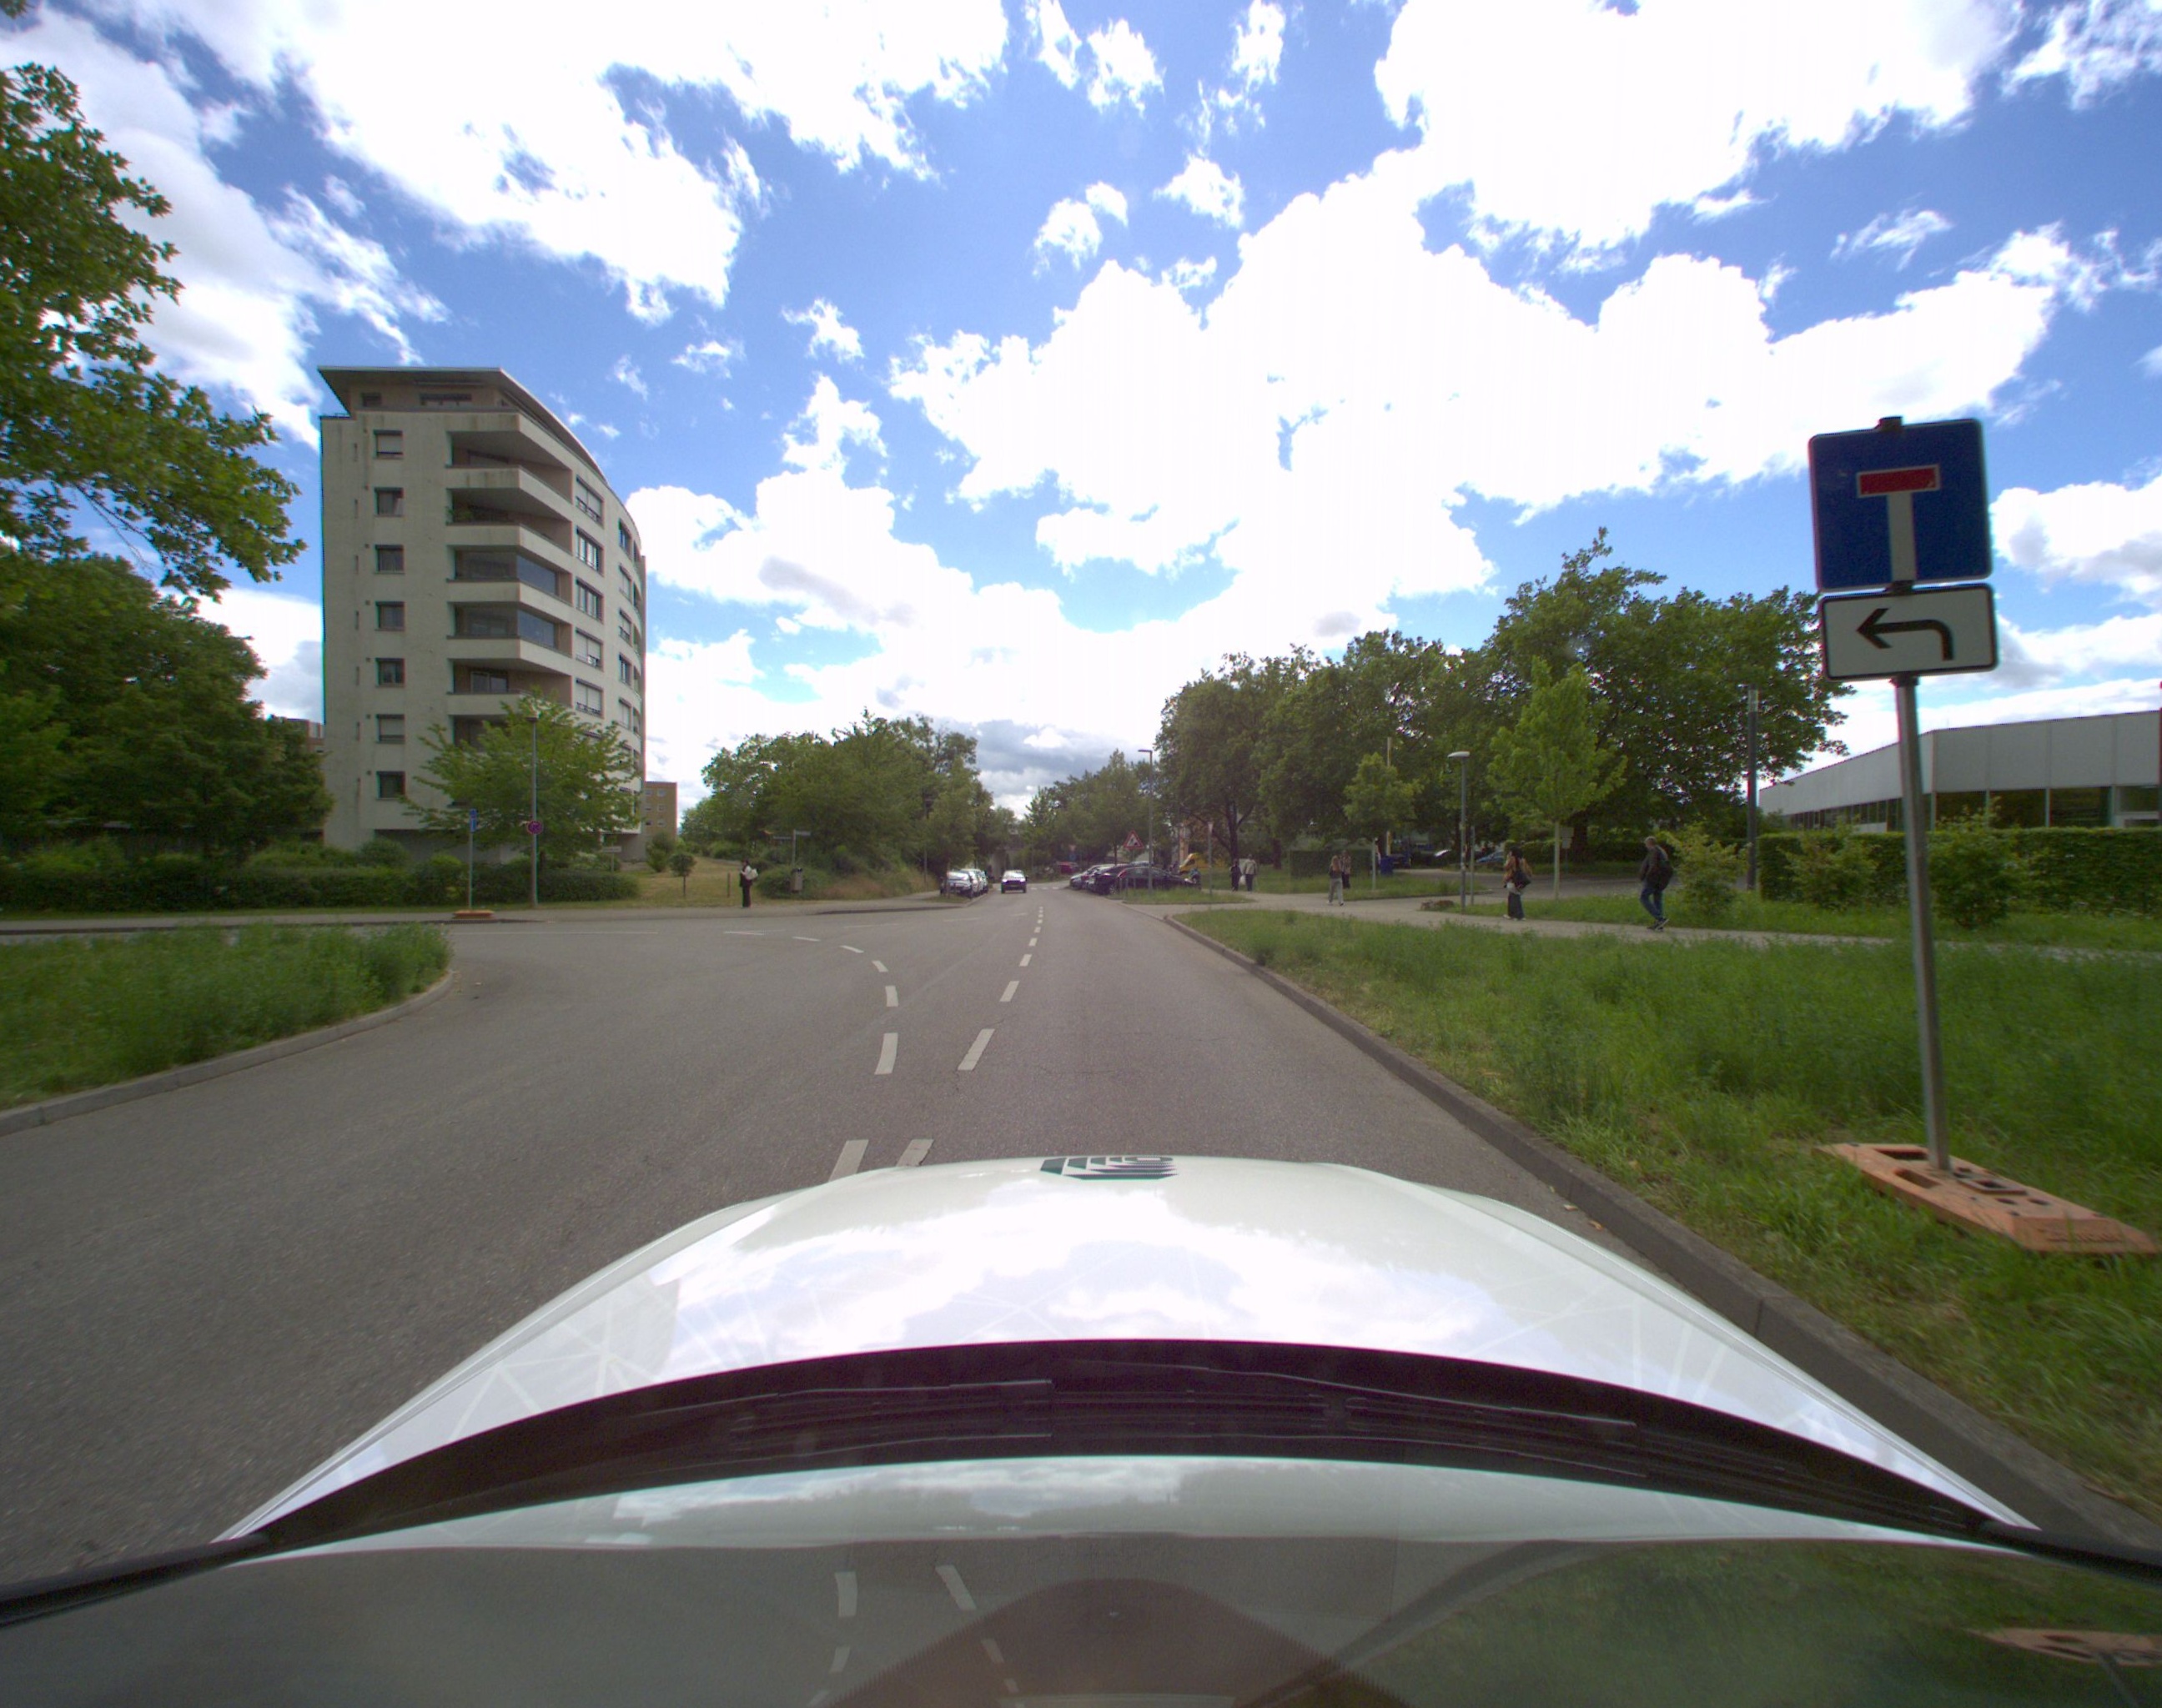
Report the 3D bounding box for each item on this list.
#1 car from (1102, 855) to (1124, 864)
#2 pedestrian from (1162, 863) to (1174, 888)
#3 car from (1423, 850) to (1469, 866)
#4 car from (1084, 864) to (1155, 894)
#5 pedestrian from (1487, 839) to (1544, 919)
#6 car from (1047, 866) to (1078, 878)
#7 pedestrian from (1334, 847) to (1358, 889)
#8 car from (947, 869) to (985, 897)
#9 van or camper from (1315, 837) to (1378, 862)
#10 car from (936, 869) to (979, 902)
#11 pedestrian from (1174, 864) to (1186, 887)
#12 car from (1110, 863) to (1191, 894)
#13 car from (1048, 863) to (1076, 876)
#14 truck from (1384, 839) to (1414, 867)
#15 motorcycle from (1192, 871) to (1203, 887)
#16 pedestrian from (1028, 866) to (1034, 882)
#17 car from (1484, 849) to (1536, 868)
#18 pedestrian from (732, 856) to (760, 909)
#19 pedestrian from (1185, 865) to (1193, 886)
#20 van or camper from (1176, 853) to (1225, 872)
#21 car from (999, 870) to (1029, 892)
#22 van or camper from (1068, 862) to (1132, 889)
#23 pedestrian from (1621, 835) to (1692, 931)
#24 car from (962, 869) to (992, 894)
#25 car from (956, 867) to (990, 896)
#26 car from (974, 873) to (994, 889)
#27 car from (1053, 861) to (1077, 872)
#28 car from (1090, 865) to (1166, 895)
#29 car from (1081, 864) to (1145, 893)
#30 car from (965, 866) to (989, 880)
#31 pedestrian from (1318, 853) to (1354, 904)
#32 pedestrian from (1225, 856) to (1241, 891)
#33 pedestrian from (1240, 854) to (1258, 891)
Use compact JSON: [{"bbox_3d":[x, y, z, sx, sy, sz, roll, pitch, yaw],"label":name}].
[{"bbox_3d":[5.455,0.945,138.696,3.550,1.654,1.611,0,0,-19],"label":"car"},{"bbox_3d":[5.495,1.354,51.522,0.687,1.504,0.753,0,-1,1],"label":"pedestrian"},{"bbox_3d":[36.677,0.433,81.923,3.908,1.500,1.772,-1,1,1],"label":"car"},{"bbox_3d":[2.143,1.431,45.925,3.908,1.631,1.771,-1,-3,1],"label":"car"},{"bbox_3d":[9.706,0.532,18.214,0.776,1.722,0.819,-1,1,-16],"label":"pedestrian"},{"bbox_3d":[-2.320,2.242,102.285,3.550,1.564,1.611,0,-1,-19],"label":"car"},{"bbox_3d":[10.982,0.583,33.748,0.767,1.694,0.828,0,1,31],"label":"pedestrian"},{"bbox_3d":[-6.740,1.688,47.925,1.761,1.500,3.932,-1,0,-2],"label":"car"},{"bbox_3d":[21.691,-0.383,66.638,4.628,1.914,1.783,0,2,30],"label":"van or camper"},{"bbox_3d":[-6.453,1.618,42.834,1.761,1.500,3.932,-1,0,-2],"label":"car"},{"bbox_3d":[6.282,1.352,51.531,0.687,1.424,0.753,0,-1,1],"label":"pedestrian"},{"bbox_3d":[3.452,1.264,40.945,3.908,1.468,1.771,-1,-3,1],"label":"car"},{"bbox_3d":[-2.541,2.068,109.047,3.536,1.654,1.618,0,0,-7],"label":"car"},{"bbox_3d":[27.587,-0.124,70.779,2.307,2.295,5.925,1,1,20],"label":"truck"},{"bbox_3d":[6.396,1.383,44.689,0.451,0.794,1.264,-1,1,2],"label":"motorcycle"},{"bbox_3d":[-6.050,2.384,98.426,0.721,1.864,0.648,-1,1,-10],"label":"pedestrian"},{"bbox_3d":[36.993,0.383,70.253,3.886,1.500,1.782,0,2,25],"label":"car"},{"bbox_3d":[-11.289,0.946,27.449,0.823,1.722,0.772,-1,1,-21],"label":"pedestrian"},{"bbox_3d":[5.960,1.190,45.095,0.394,1.152,0.485,0,1,1],"label":"pedestrian"},{"bbox_3d":[13.714,0.974,93.397,5.281,2.041,2.058,-1,1,-4],"label":"van or camper"},{"bbox_3d":[-4.820,1.912,59.039,1.969,1.463,3.932,-1,-1,-2],"label":"car"},{"bbox_3d":[1.431,1.654,62.479,4.666,1.870,1.768,-1,1,-6],"label":"van or camper"},{"bbox_3d":[10.650,0.516,15.102,0.770,1.722,0.824,0,1,5],"label":"pedestrian"},{"bbox_3d":[-7.539,1.951,59.325,1.733,1.711,4.079,-1,0,-2],"label":"car"},{"bbox_3d":[-7.068,1.791,53.689,1.761,1.753,3.932,-1,0,-2],"label":"car"},{"bbox_3d":[-9.116,2.531,77.061,1.735,1.326,3.808,-1,0,-5],"label":"car"},{"bbox_3d":[-2.374,1.897,124.118,3.524,1.654,1.623,0,0,4],"label":"car"},{"bbox_3d":[2.471,1.383,43.193,3.908,1.501,1.771,-1,-3,1],"label":"car"},{"bbox_3d":[1.981,1.531,51.036,3.908,1.630,1.772,-1,1,1],"label":"car"},{"bbox_3d":[-10.446,1.855,81.633,1.209,1.337,2.576,0,-1,-40],"label":"car"},{"bbox_3d":[8.355,0.798,26.703,0.777,1.596,0.818,-1,1,-20],"label":"pedestrian"},{"bbox_3d":[7.635,0.980,41.004,0.769,1.722,0.826,0,1,10],"label":"pedestrian"},{"bbox_3d":[7.886,0.855,38.174,0.796,1.722,0.826,0,1,11],"label":"pedestrian"}]
